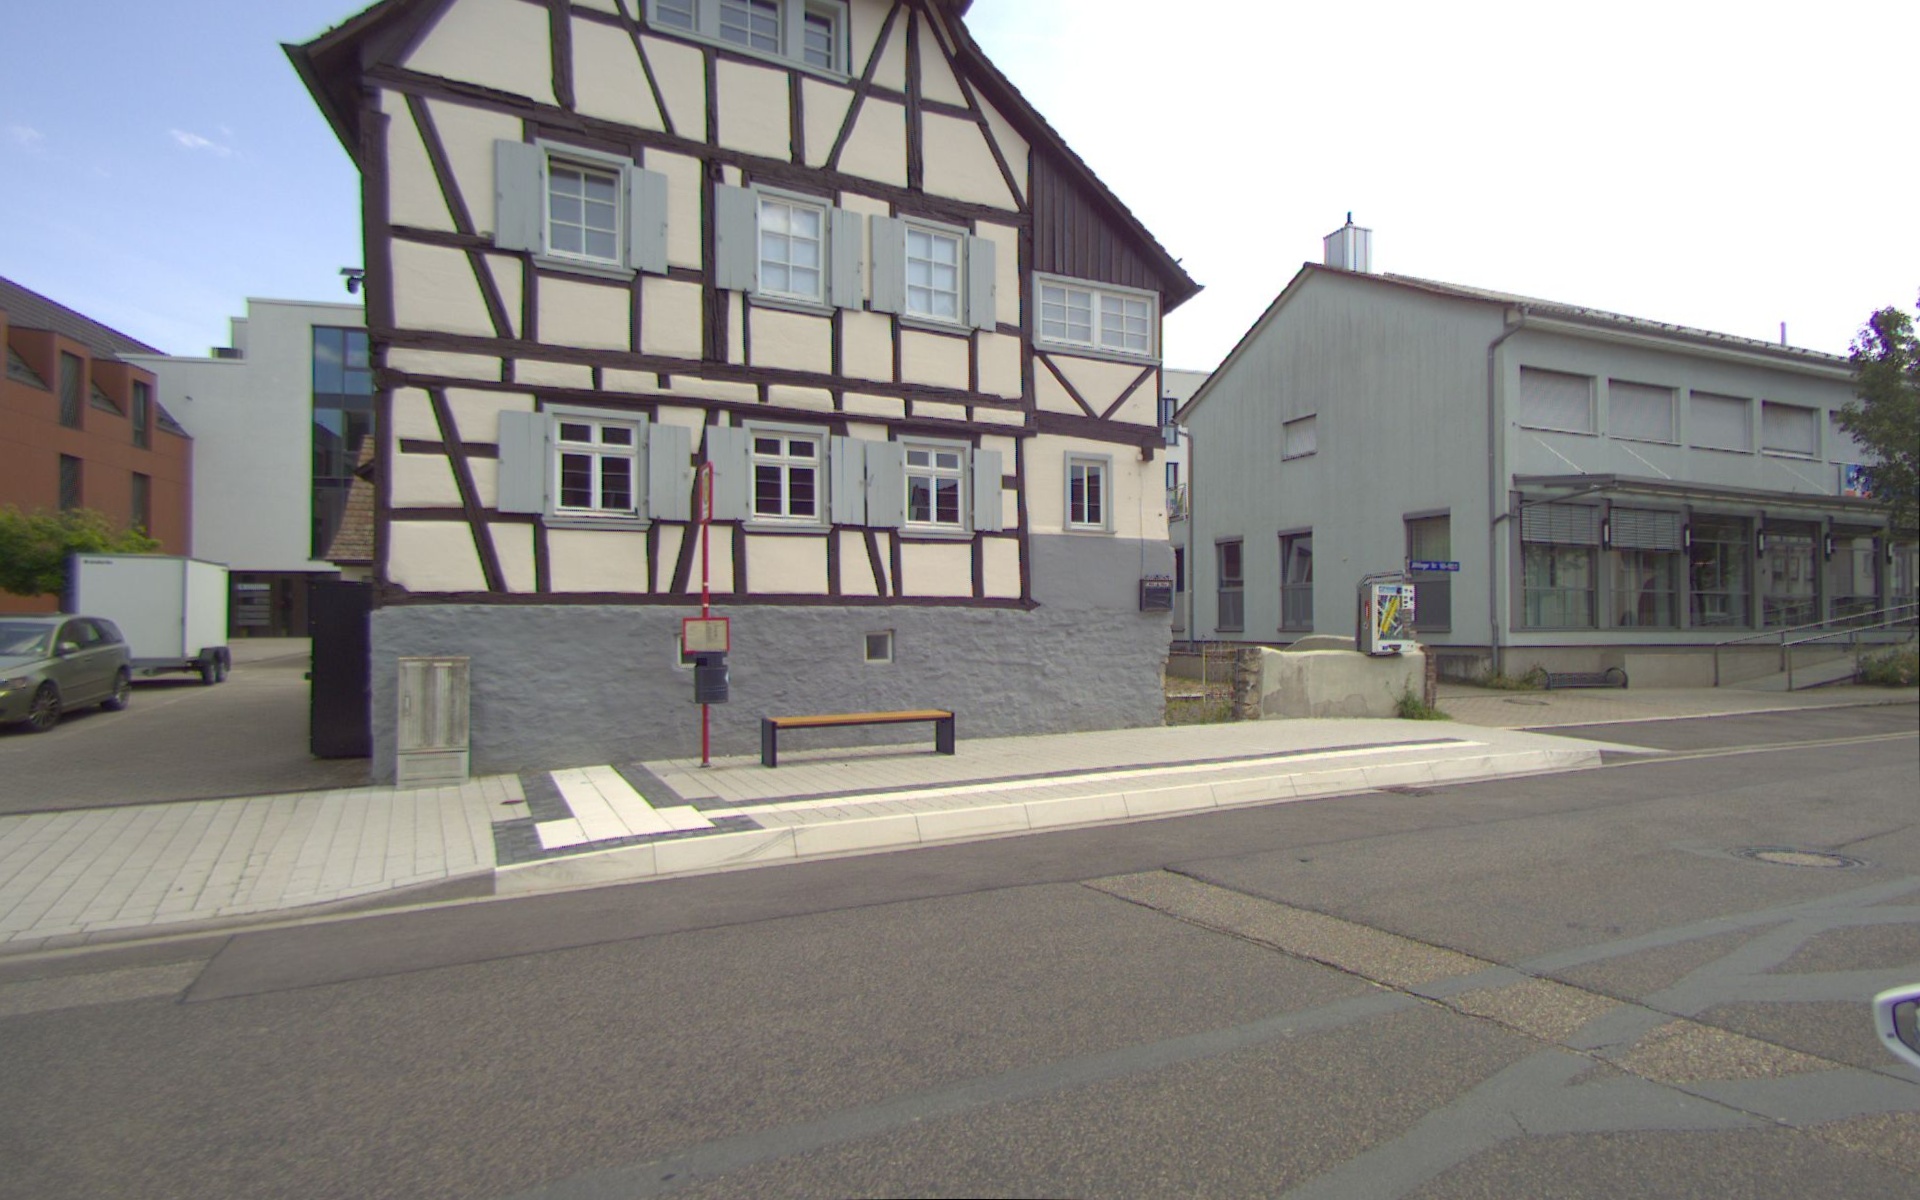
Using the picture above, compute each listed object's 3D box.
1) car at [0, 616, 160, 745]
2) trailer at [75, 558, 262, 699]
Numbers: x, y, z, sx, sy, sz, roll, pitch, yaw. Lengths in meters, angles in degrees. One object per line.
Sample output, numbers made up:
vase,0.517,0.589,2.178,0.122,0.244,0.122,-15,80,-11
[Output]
car,-12.798,0.979,13.544,1.936,1.407,4.417,1,0,-22
trailer,-15.478,0.504,19.924,1.938,2.458,4.412,1,0,-26
